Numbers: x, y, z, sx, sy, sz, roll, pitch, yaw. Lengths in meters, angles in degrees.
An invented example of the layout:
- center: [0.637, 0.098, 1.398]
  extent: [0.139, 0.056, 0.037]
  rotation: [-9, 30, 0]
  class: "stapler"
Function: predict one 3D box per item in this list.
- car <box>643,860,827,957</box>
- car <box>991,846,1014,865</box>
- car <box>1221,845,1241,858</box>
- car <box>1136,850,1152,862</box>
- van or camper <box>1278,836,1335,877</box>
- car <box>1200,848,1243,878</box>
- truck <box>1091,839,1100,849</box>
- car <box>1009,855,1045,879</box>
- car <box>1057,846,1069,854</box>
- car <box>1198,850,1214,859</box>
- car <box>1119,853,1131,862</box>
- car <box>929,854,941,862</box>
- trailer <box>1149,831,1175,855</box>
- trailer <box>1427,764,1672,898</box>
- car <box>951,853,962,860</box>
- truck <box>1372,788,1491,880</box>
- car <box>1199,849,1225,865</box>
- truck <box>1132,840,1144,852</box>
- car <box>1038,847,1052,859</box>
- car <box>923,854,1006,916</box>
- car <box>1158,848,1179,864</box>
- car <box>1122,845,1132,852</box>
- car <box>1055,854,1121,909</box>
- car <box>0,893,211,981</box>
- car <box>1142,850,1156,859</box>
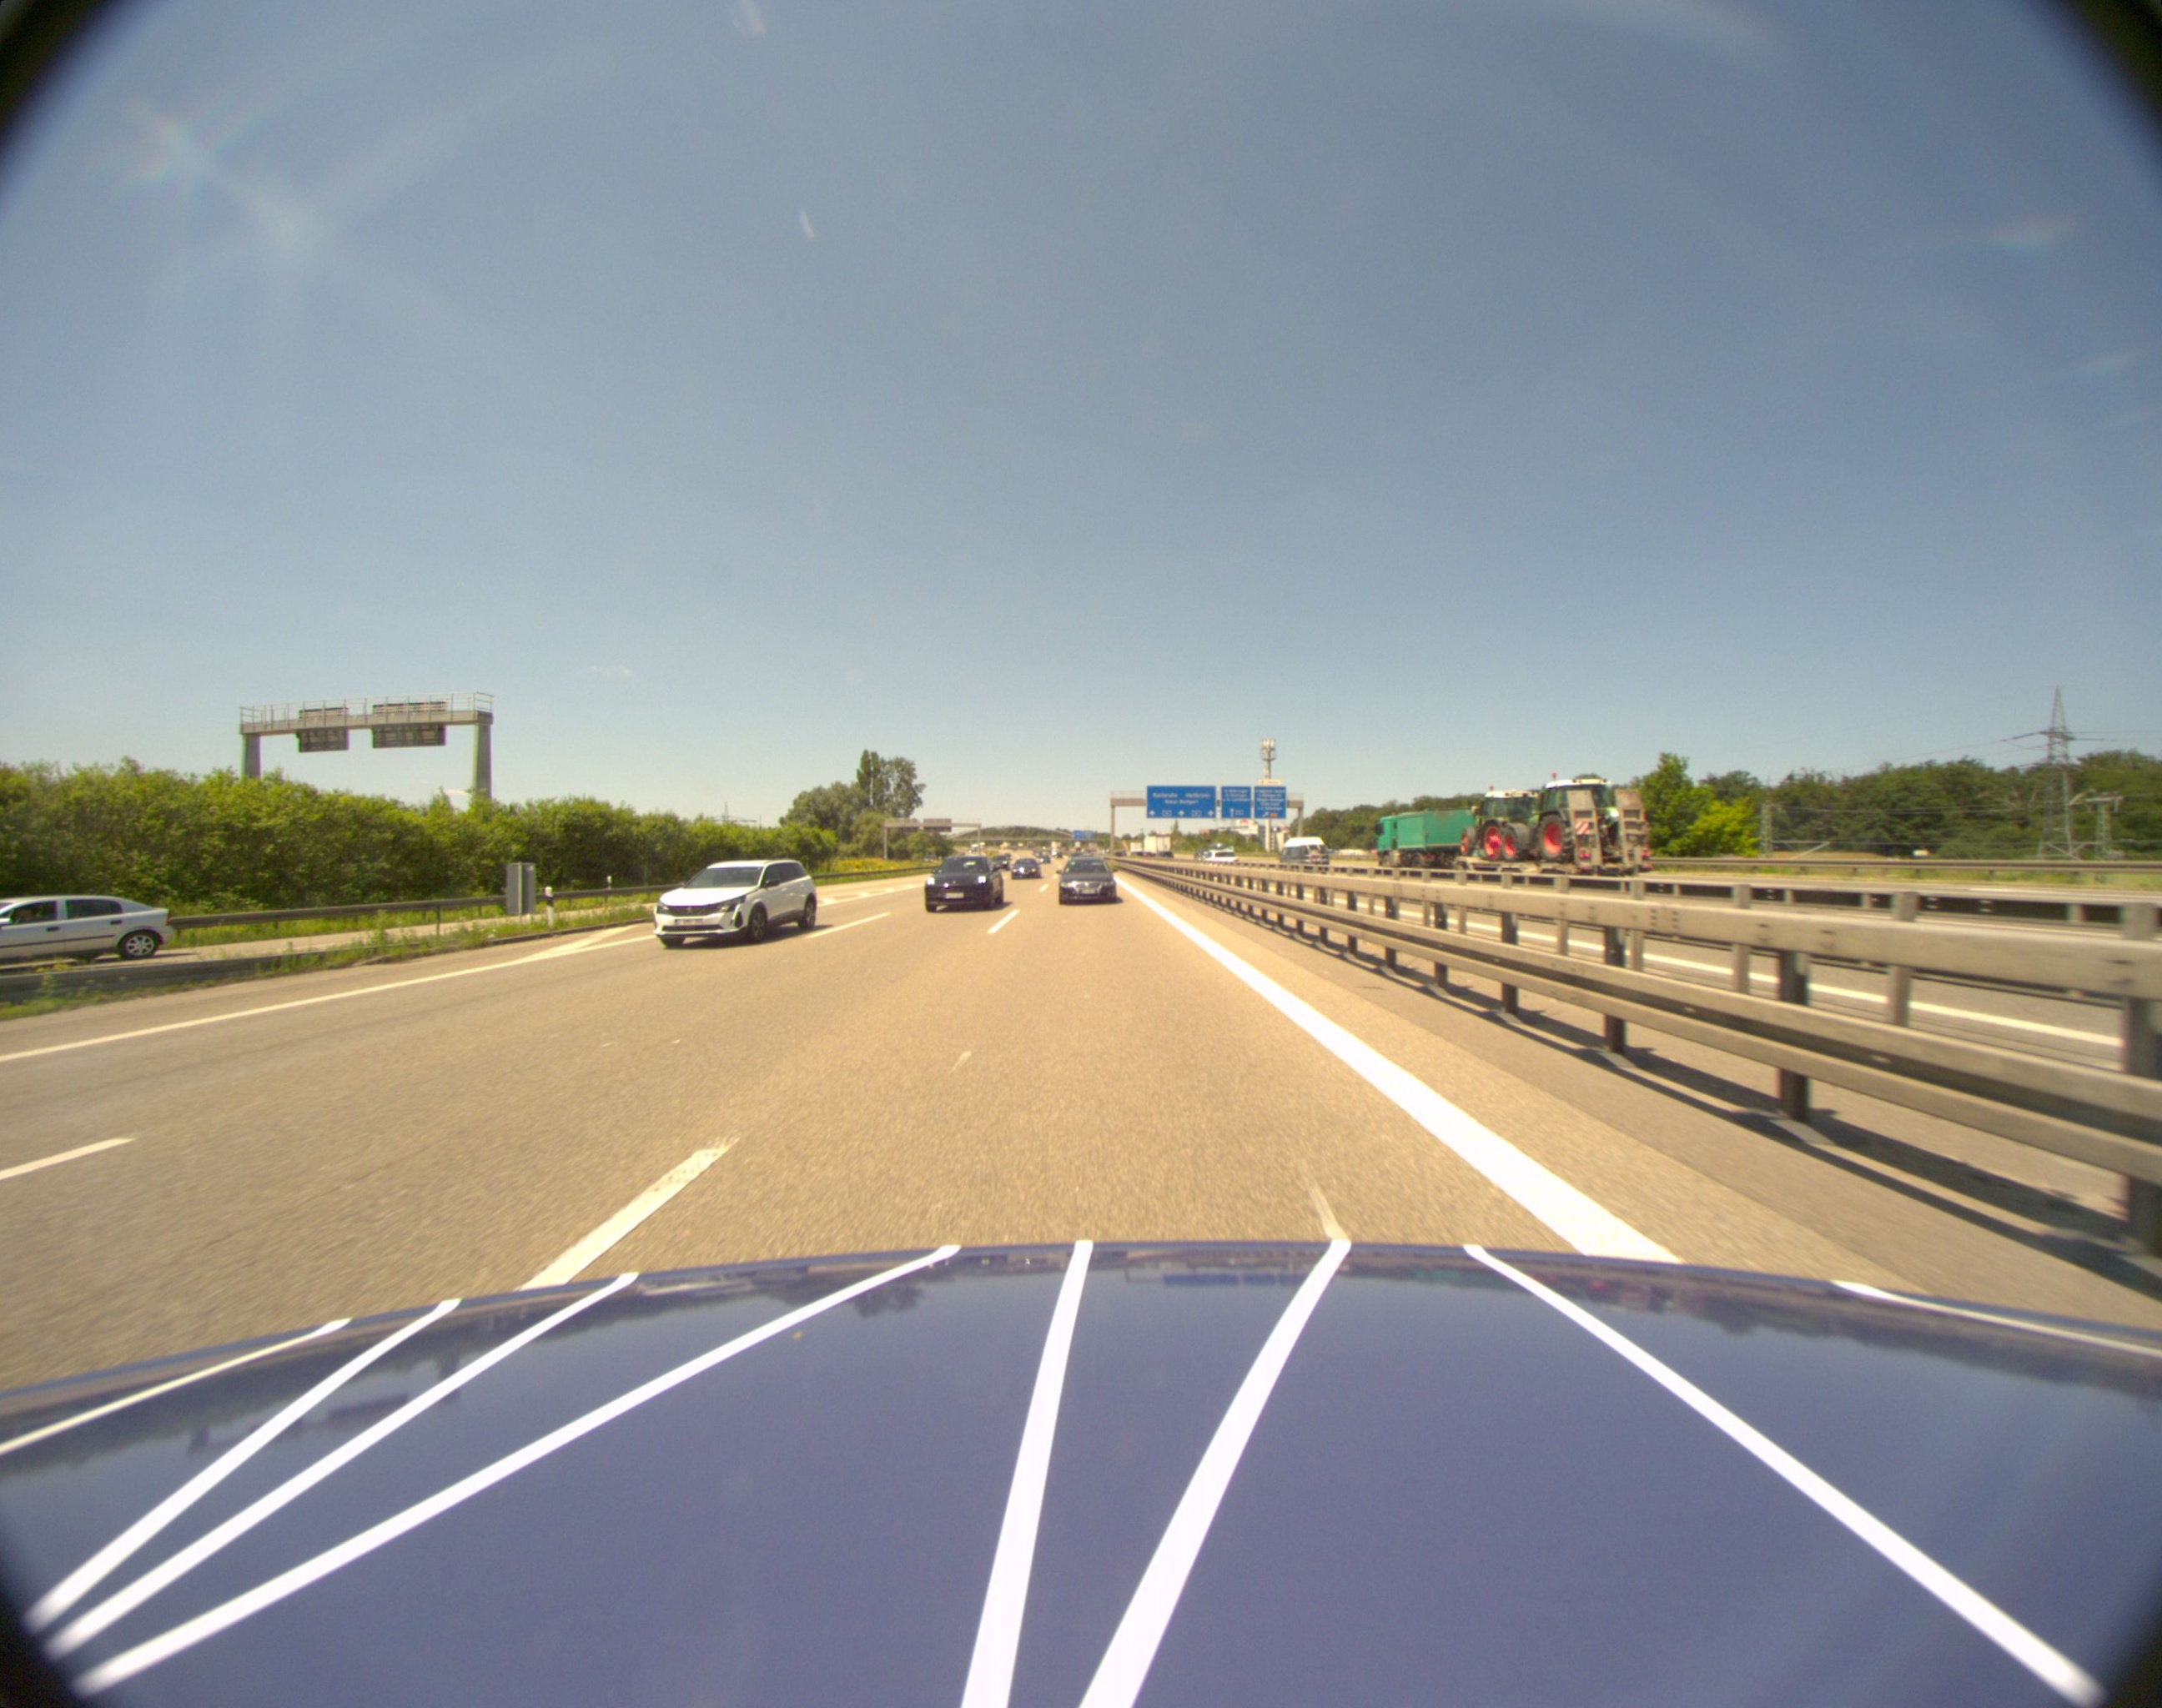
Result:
- center: [-7.080, 1.014, 16.169]
  extent: [1.748, 1.582, 4.618]
  rotation: [-2, 1, 0]
  class: "car"
- center: [-8.266, 0.123, 79.855]
  extent: [1.808, 1.908, 4.294]
  rotation: [-2, 1, 2]
  class: "car"
- center: [23.743, -0.437, 120.201]
  extent: [2.021, 1.903, 5.161]
  rotation: [-2, 0, -1]
  class: "car"
- center: [8.982, 0.226, 108.833]
  extent: [1.760, 1.659, 4.697]
  rotation: [-1, 0, -1]
  class: "car"
- center: [13.026, 0.140, 44.110]
  extent: [1.760, 2.209, 4.941]
  rotation: [-2, 0, -1]
  class: "van or camper"
- center: [9.089, 0.529, 49.455]
  extent: [1.812, 1.787, 4.839]
  rotation: [-2, 1, -1]
  class: "car"
- center: [4.916, -3.501, 263.613]
  extent: [2.383, 3.259, 7.656]
  rotation: [-2, 1, -4]
  class: "truck"
- center: [-3.583, 0.817, 50.972]
  extent: [1.931, 1.390, 4.117]
  rotation: [-2, 1, 2]
  class: "car"
- center: [-3.992, -0.883, 166.077]
  extent: [2.000, 1.849, 3.996]
  rotation: [-2, 1, -8]
  class: "car"
- center: [19.948, 0.077, 121.183]
  extent: [1.700, 1.417, 4.454]
  rotation: [-1, 0, -1]
  class: "car"
- center: [7.765, 0.597, 134.133]
  extent: [1.846, 1.452, 4.996]
  rotation: [-2, 0, -1]
  class: "car"
- center: [-28.537, 0.769, 148.765]
  extent: [1.704, 1.566, 4.126]
  rotation: [-2, 1, -2]
  class: "car"
- center: [14.865, -2.103, 140.405]
  extent: [3.231, 4.169, 11.405]
  rotation: [-2, 1, -1]
  class: "trailer"
- center: [17.605, -0.840, 29.987]
  extent: [2.766, 4.221, 11.198]
  rotation: [-2, 1, 0]
  class: "trailer"
- center: [-30.868, 0.657, 188.634]
  extent: [1.703, 1.566, 4.128]
  rotation: [-2, 1, 2]
  class: "car"
- center: [17.579, -0.998, 38.693]
  extent: [2.766, 4.221, 6.976]
  rotation: [-2, 1, -1]
  class: "truck"
- center: [13.258, 0.304, 77.094]
  extent: [1.760, 1.473, 4.633]
  rotation: [-2, 0, -1]
  class: "car"
- center: [15.062, -2.145, 200.872]
  extent: [2.326, 3.149, 8.110]
  rotation: [-1, 0, -1]
  class: "truck"
- center: [-5.551, -0.128, 118.598]
  extent: [1.925, 1.762, 3.999]
  rotation: [-2, 1, 1]
  class: "car"
- center: [-3.466, 0.863, 23.355]
  extent: [1.932, 1.586, 4.130]
  rotation: [-2, 1, -1]
  class: "car"
- center: [9.715, 0.204, 84.727]
  extent: [1.760, 1.731, 4.721]
  rotation: [-1, 0, -1]
  class: "car"
- center: [10.491, -1.259, 171.927]
  extent: [1.747, 1.500, 5.101]
  rotation: [-1, 0, -2]
  class: "car"
- center: [0.189, 0.823, 24.974]
  extent: [1.931, 1.499, 4.390]
  rotation: [-2, 1, 0]
  class: "car"
- center: [-21.004, 1.666, 14.919]
  extent: [1.789, 1.429, 4.850]
  rotation: [-1, 1, 12]
  class: "car"
- center: [11.312, 0.092, 126.664]
  extent: [1.846, 1.452, 4.996]
  rotation: [-2, 0, -1]
  class: "car"
